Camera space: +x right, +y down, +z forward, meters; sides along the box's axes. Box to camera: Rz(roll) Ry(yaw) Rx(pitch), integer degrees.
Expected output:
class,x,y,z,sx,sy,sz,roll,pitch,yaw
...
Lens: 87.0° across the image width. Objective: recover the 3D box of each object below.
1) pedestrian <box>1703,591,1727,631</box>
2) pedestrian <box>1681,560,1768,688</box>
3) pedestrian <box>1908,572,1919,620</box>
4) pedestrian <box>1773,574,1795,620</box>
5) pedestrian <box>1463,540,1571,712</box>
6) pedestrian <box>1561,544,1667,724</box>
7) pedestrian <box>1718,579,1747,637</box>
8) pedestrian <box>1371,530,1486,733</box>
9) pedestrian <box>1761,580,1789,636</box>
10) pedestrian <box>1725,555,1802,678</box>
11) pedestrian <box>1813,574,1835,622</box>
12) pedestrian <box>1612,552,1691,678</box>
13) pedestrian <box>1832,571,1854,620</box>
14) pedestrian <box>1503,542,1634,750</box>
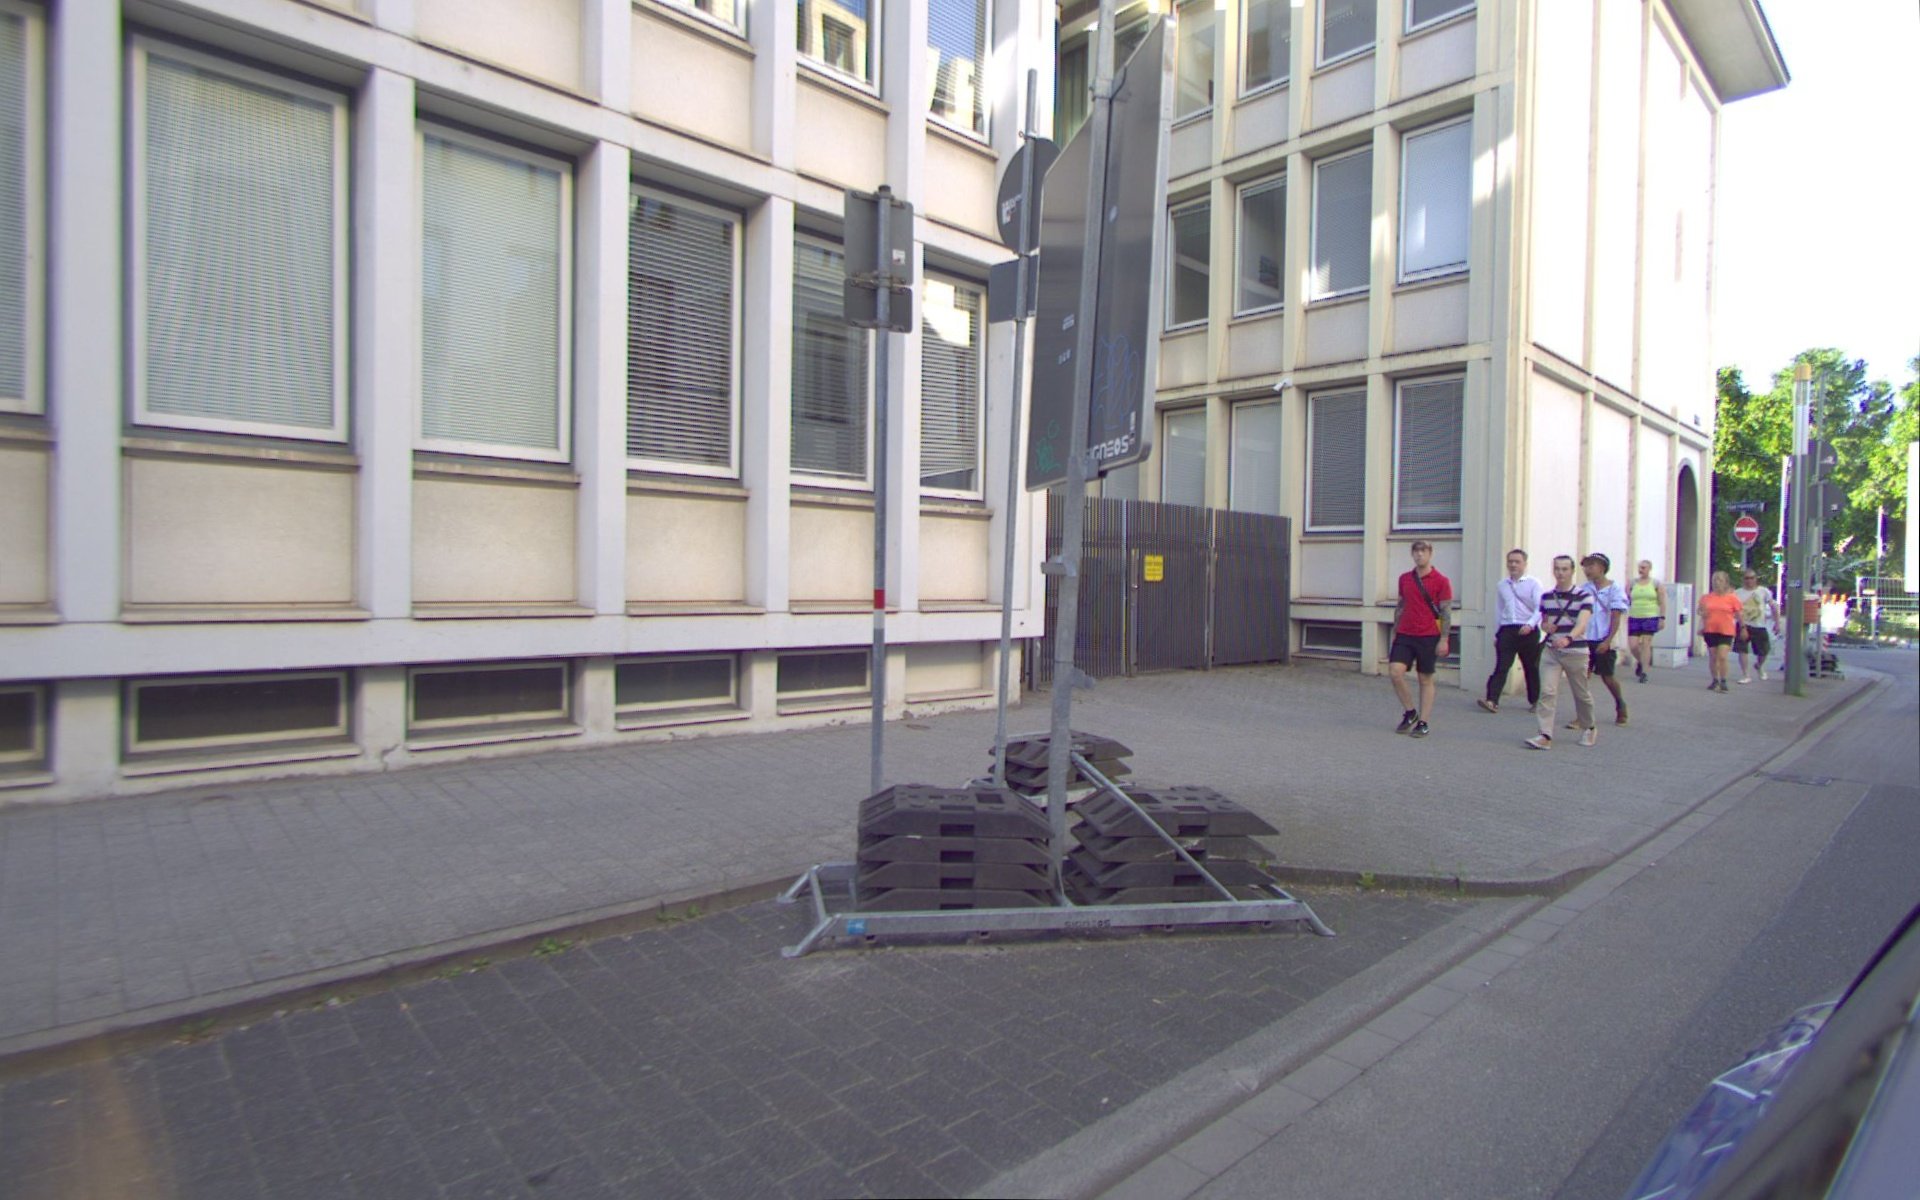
class,x,y,z,sx,sy,sz,roll,pitch,yaw
pedestrian,22.870,0.334,30.648,0.533,1.191,0.614,0,1,42
pedestrian,10.505,0.304,13.915,0.681,1.655,0.685,0,5,-41
pedestrian,37.069,-0.160,38.990,0.614,1.805,0.624,-1,1,-27
pedestrian,32.479,-0.130,39.894,0.624,1.805,0.614,0,1,42
pedestrian,6.202,0.266,11.285,0.681,1.799,0.685,0,6,-41
pedestrian,6.888,0.329,10.664,0.681,1.800,0.684,0,3,-41
pedestrian,22.698,0.221,29.744,0.624,1.662,0.614,0,1,42
pedestrian,4.407,0.270,9.536,0.583,1.800,0.685,0,4,-41
pedestrian,24.059,0.230,29.867,0.624,1.634,0.614,0,1,42
pedestrian,11.897,0.227,14.979,0.681,1.736,0.684,0,3,-41
pedestrian,33.244,-0.079,38.935,0.624,1.805,0.614,0,1,42
pedestrian,9.937,0.198,14.548,0.681,1.736,0.684,0,4,-41
pedestrian,33.220,-0.167,38.089,0.624,1.805,0.614,0,1,42
pedestrian,5.661,0.398,9.428,0.681,1.799,0.685,0,6,-41
